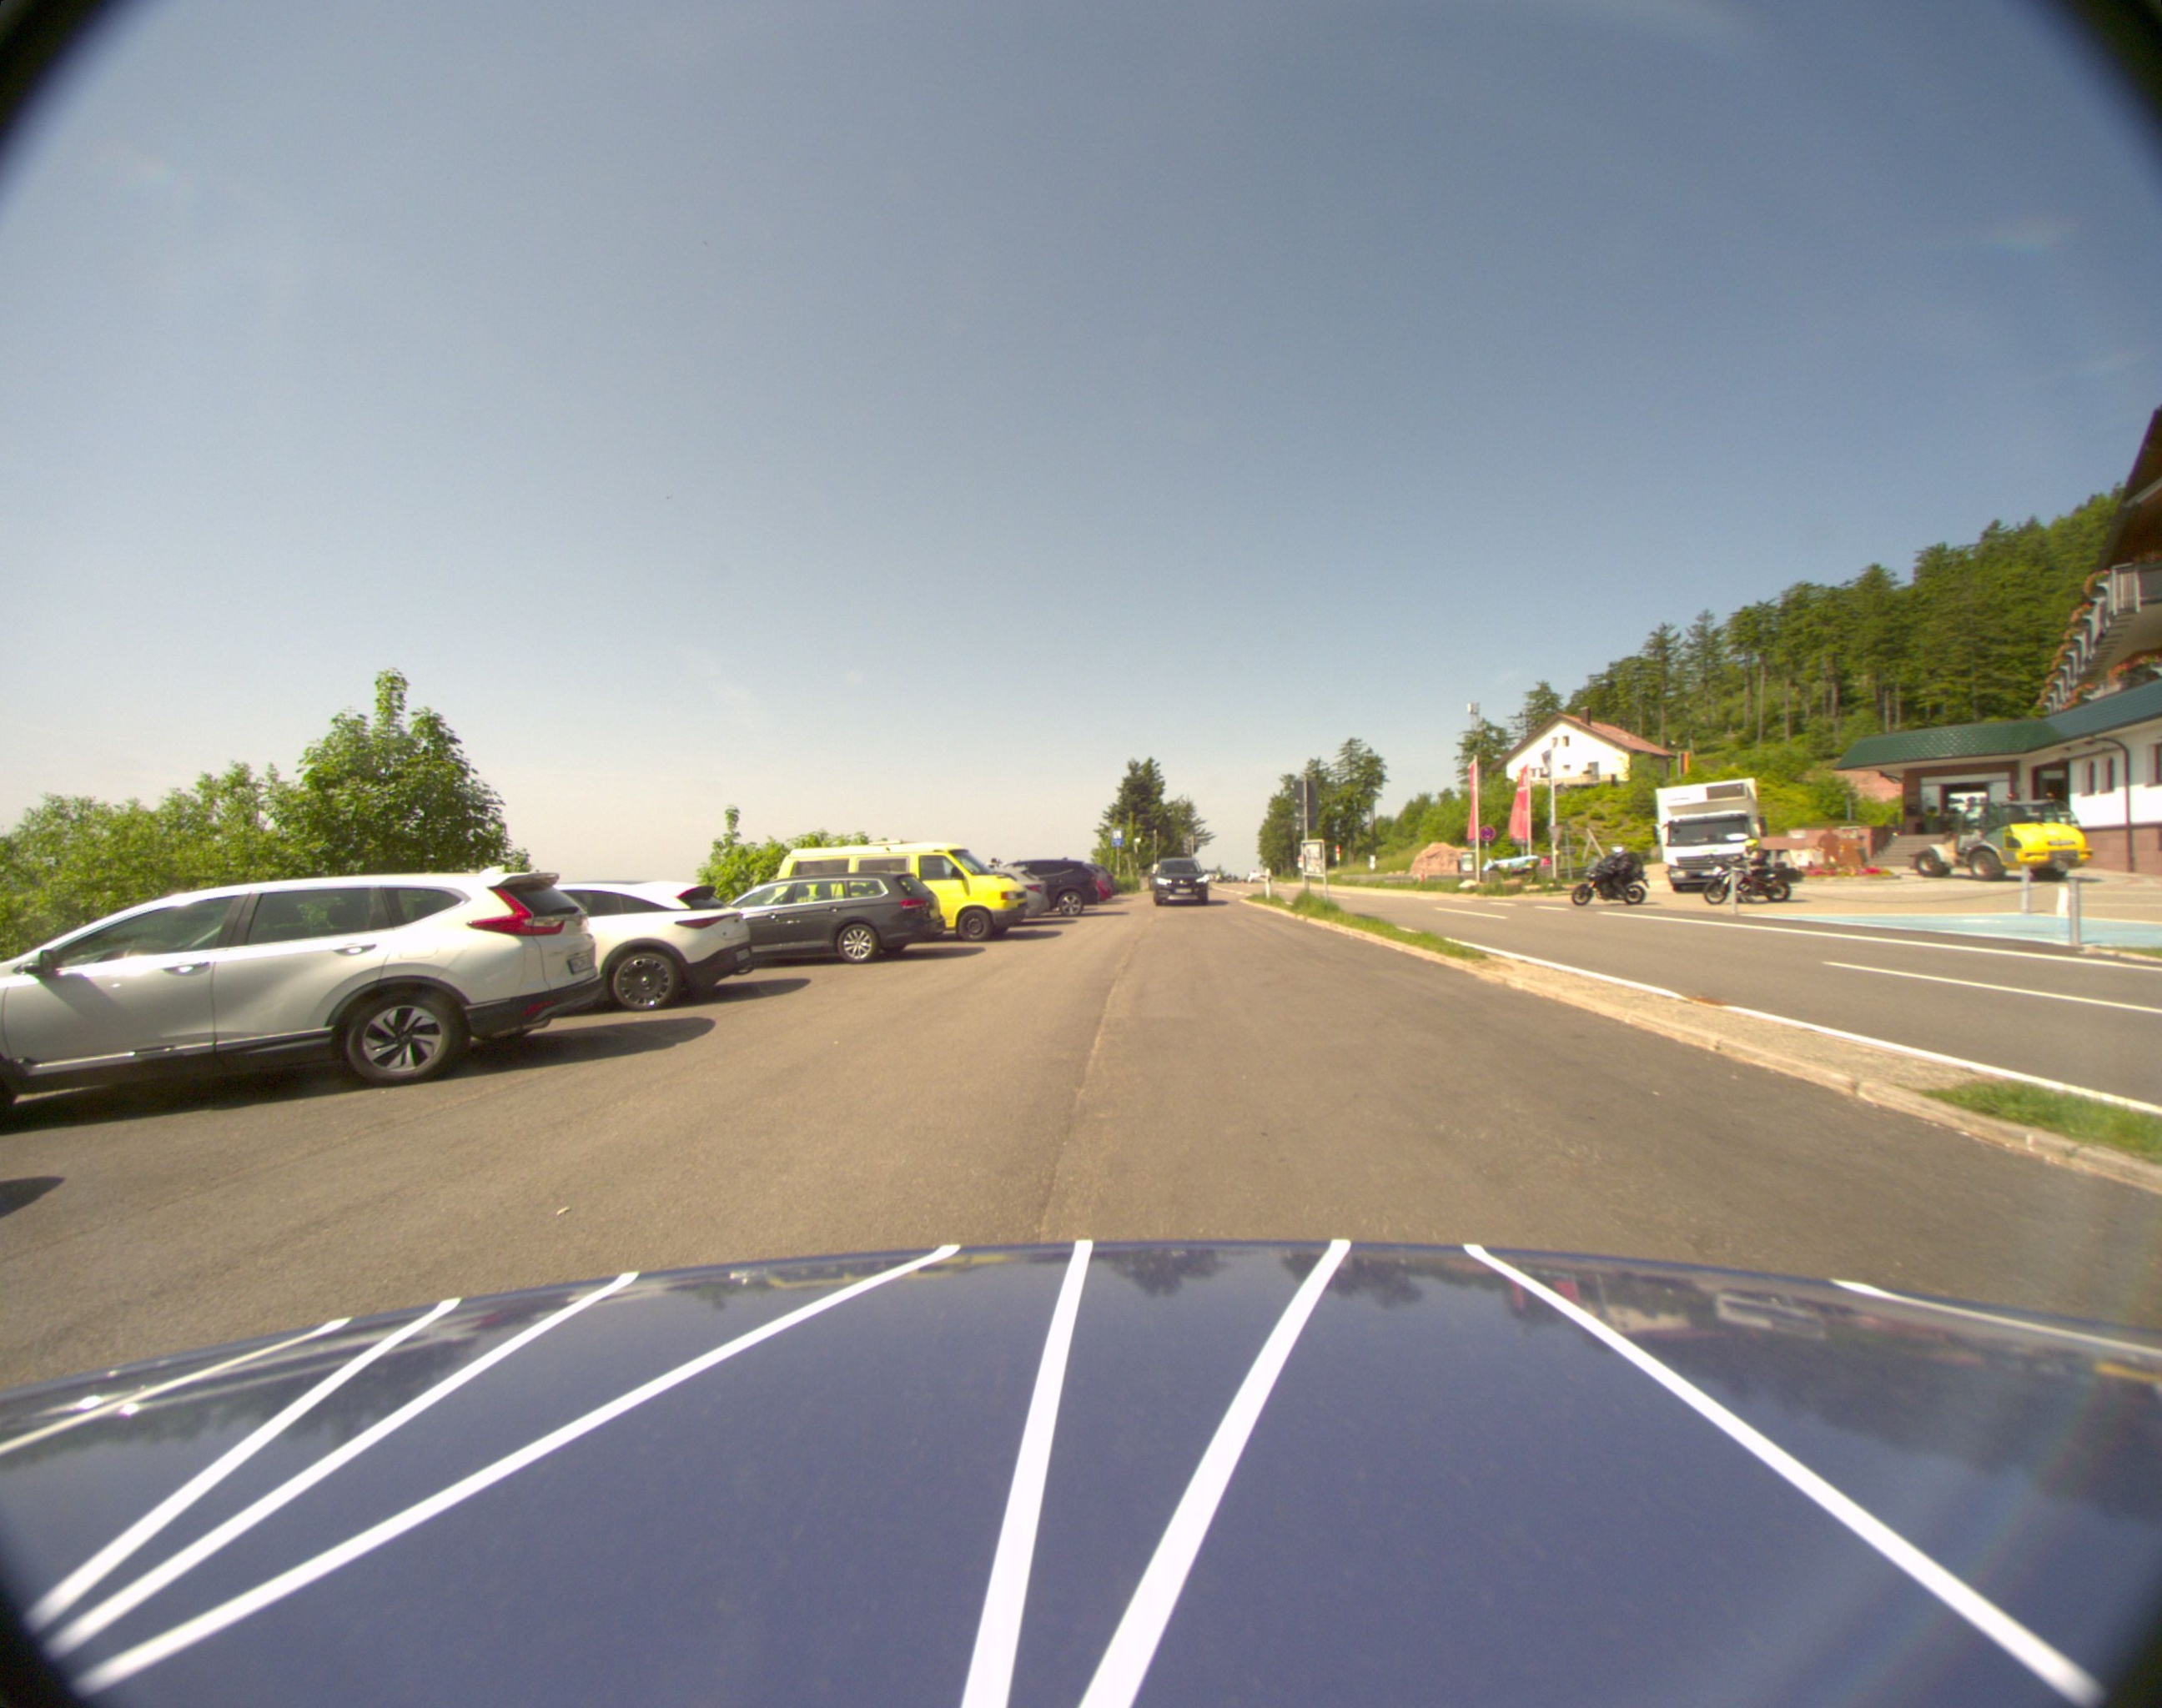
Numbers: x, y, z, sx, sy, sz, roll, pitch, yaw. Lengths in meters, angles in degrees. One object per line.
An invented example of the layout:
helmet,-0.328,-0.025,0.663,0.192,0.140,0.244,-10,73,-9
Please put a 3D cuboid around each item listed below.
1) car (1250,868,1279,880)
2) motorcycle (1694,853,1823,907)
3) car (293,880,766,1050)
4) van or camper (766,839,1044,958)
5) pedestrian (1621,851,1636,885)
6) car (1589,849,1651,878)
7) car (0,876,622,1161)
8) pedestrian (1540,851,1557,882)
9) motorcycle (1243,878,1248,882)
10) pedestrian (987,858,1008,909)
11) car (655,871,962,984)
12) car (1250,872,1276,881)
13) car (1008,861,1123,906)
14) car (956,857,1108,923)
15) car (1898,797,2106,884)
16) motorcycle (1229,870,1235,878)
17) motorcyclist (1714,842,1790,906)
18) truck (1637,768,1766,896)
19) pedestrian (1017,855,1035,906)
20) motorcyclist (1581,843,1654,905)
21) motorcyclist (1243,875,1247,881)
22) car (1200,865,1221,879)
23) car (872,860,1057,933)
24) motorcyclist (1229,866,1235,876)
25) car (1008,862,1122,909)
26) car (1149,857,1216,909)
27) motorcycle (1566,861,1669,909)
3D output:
car,32.792,3.536,135.827,4.726,1.870,1.933,2,-1,6
motorcycle,18.681,0.715,21.037,2.440,1.398,1.007,-2,1,18
car,-6.239,1.199,9.142,4.099,1.491,1.942,-3,1,-9
van or camper,-3.495,0.887,15.577,5.100,2.001,1.883,-4,-1,8
pedestrian,27.542,0.712,38.203,0.573,1.679,0.654,0,0,39
car,32.684,0.549,46.021,4.006,1.347,1.875,-6,4,-37
car,-6.488,1.166,6.255,4.187,1.640,1.889,-4,1,-16
pedestrian,26.111,0.698,42.399,0.697,1.706,0.800,0,0,39
motorcycle,40.093,6.327,185.213,0.840,1.089,2.186,-2,-1,17
pedestrian,-3.178,1.117,29.069,0.610,1.889,0.679,-3,0,2
car,-4.385,1.171,12.641,4.360,1.478,1.813,-4,-1,5
car,29.887,3.693,124.666,3.926,1.365,1.933,2,-1,6
car,-0.646,1.170,30.577,4.409,1.559,1.907,-3,-1,-3
car,-1.330,0.973,21.305,3.998,1.604,1.916,-2,0,-2
car,28.570,-0.369,23.804,1.997,2.481,4.003,0,-1,9
motorcycle,24.477,3.234,123.447,0.812,1.258,2.329,0,-1,8
motorcyclist,18.567,0.543,21.062,1.245,1.710,1.066,-2,1,18
truck,23.060,-0.790,28.194,3.062,3.948,8.788,-4,0,40
pedestrian,-1.913,0.917,26.380,0.505,1.714,0.567,-3,0,-9
motorcyclist,15.630,0.570,22.177,1.449,1.708,0.927,-3,1,16
motorcyclist,40.057,5.828,185.112,0.840,1.432,1.006,-1,1,17
car,13.976,1.877,81.894,1.780,1.448,4.001,0,-1,3
car,-2.803,1.018,18.775,4.159,1.579,1.706,-2,0,7
motorcyclist,24.474,2.799,123.435,0.880,1.632,1.300,0,0,8
car,-0.649,1.140,27.829,3.999,1.500,1.842,-2,-1,-6
car,3.432,0.935,26.325,1.984,1.607,4.151,-1,0,3
motorcycle,15.656,0.909,22.245,2.273,1.249,0.880,-3,1,16
